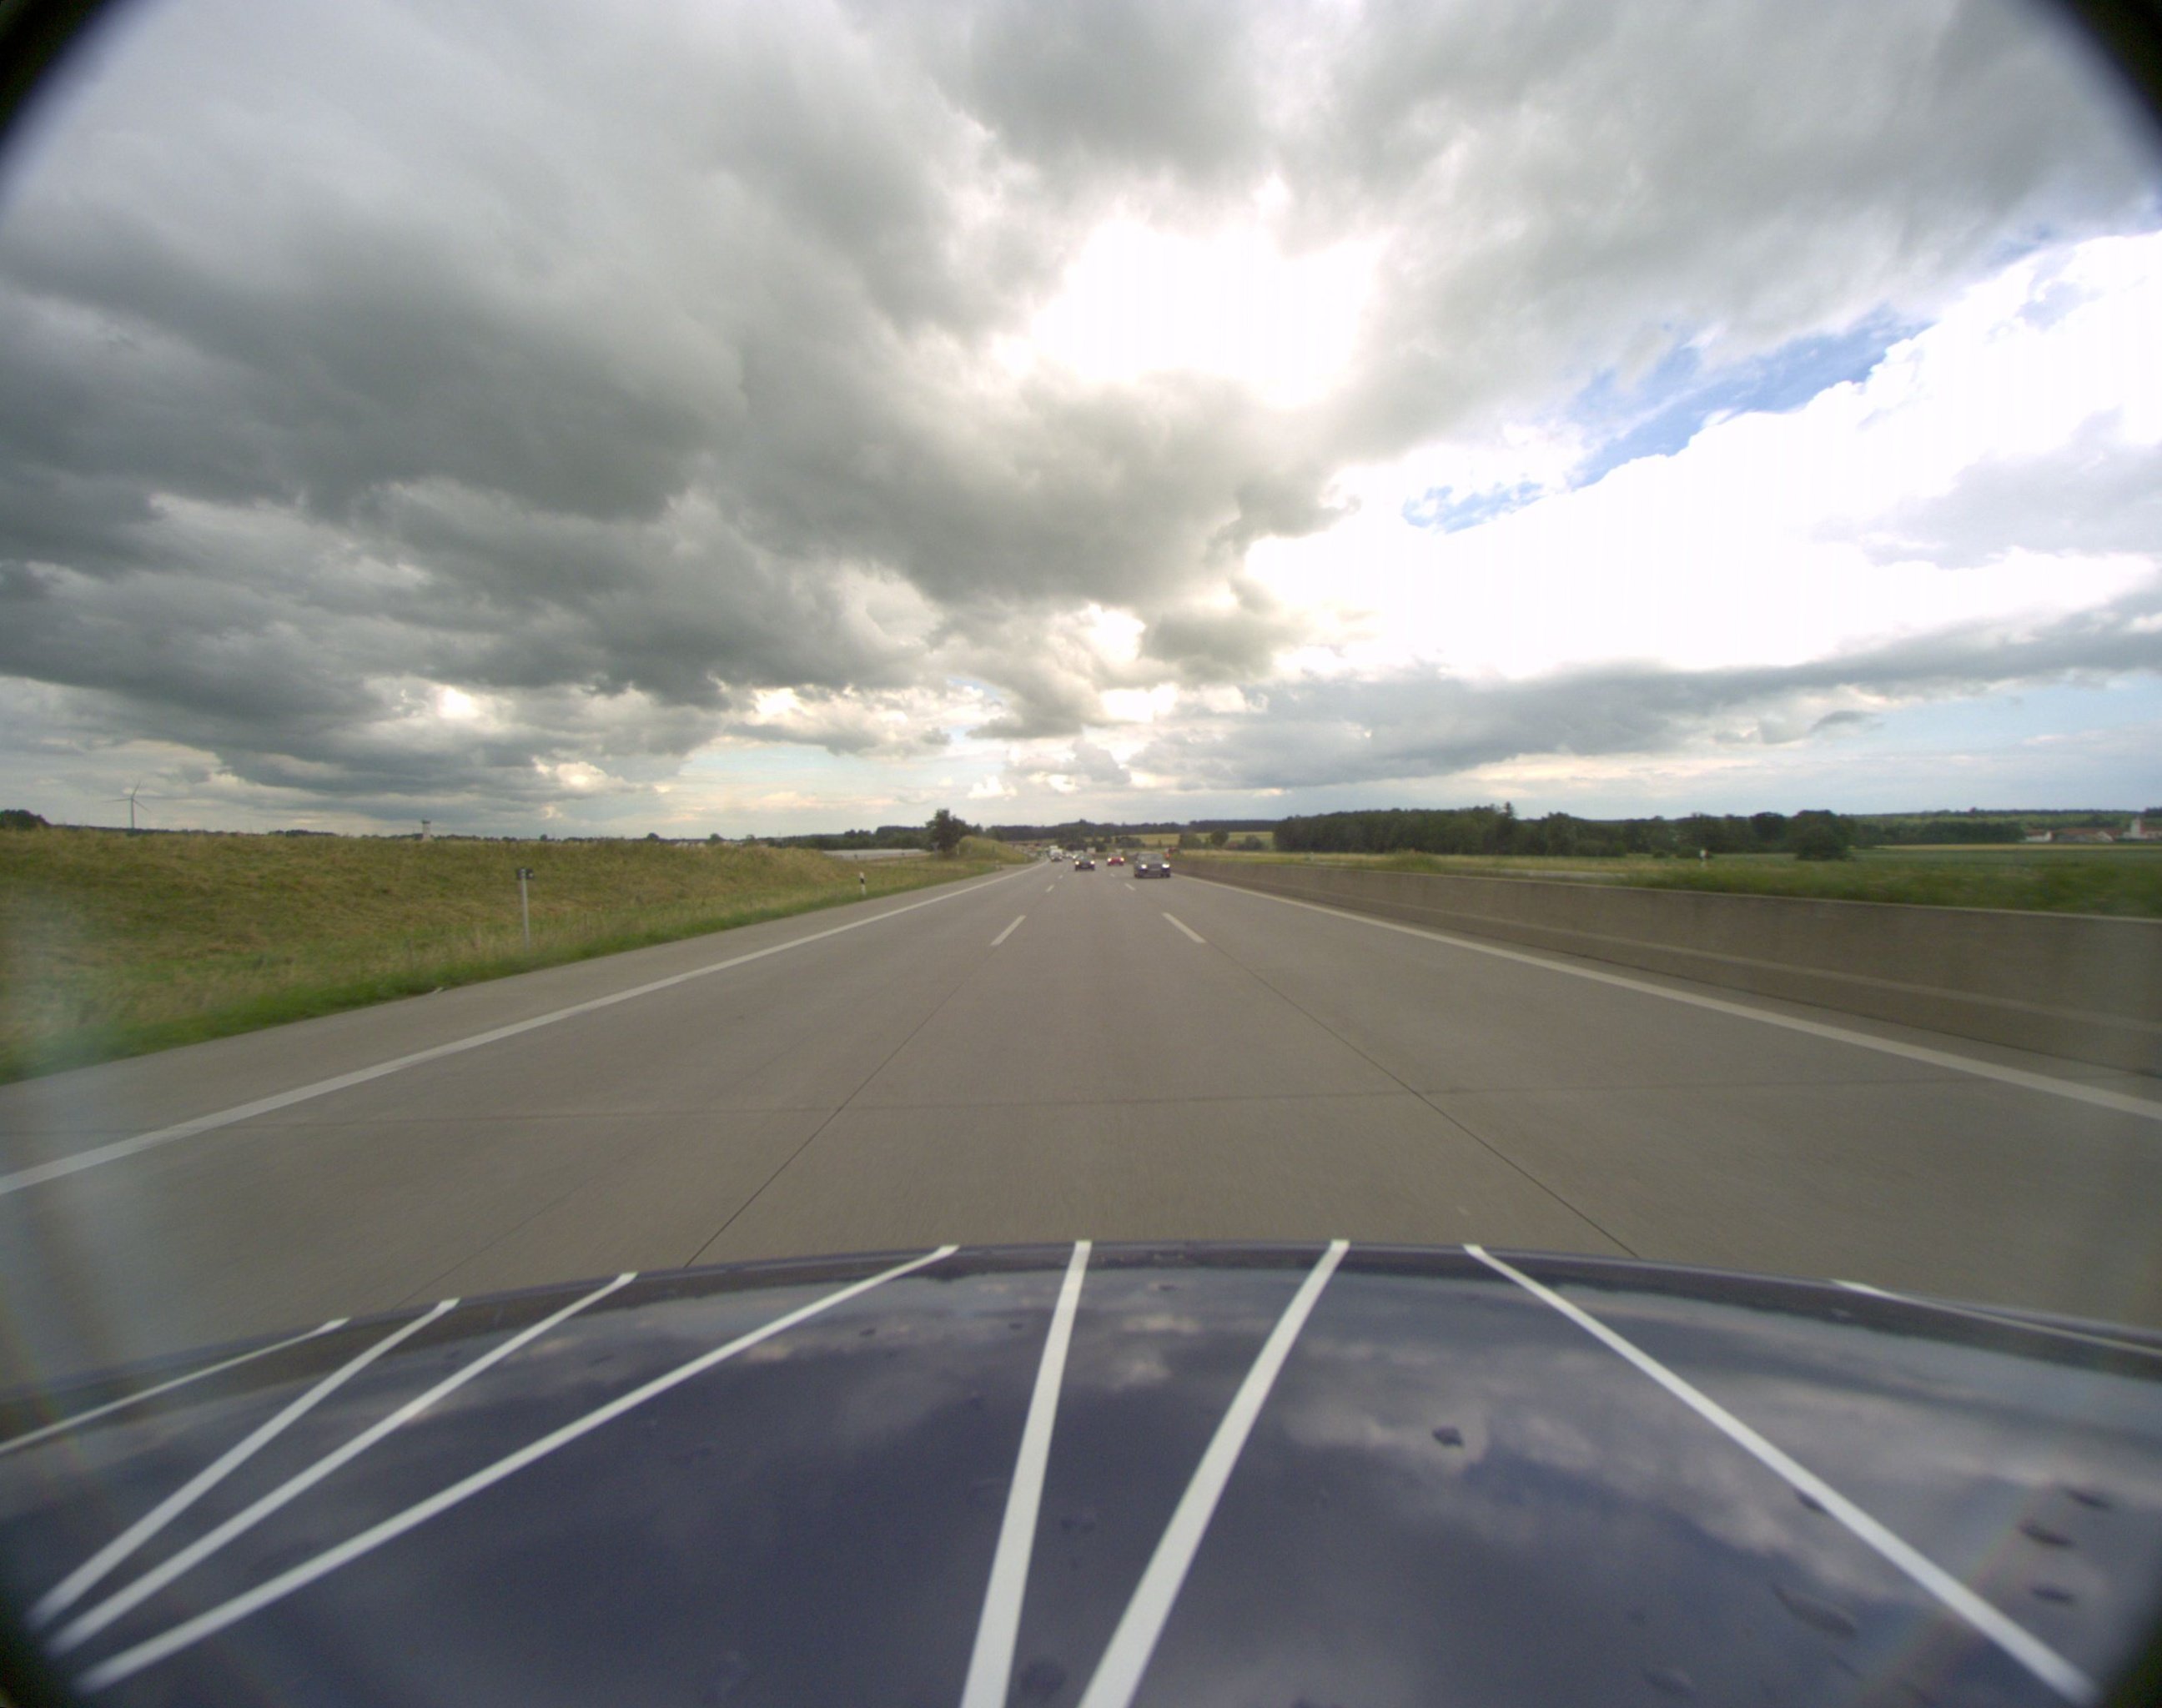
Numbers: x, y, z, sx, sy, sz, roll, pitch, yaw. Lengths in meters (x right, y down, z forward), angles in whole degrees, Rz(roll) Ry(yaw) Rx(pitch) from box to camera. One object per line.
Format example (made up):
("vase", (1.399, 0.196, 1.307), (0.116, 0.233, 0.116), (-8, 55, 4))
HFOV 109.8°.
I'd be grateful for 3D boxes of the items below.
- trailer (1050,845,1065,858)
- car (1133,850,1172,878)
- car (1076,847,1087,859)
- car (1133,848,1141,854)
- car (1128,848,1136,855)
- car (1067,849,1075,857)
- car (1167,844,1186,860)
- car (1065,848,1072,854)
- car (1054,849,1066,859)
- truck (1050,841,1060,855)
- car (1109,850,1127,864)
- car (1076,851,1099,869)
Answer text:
("trailer", (-4.690, -0.513, 152.723), (2.616, 2.520, 6.717), (-2, 1, -4))
("car", (4.096, 0.550, 44.032), (1.939, 1.464, 4.000), (-2, 0, 1))
("car", (0.130, -0.179, 139.794), (1.999, 2.002, 3.999), (-2, 0, 0))
("car", (16.116, -0.985, 218.499), (1.753, 1.631, 4.943), (-2, 0, -1))
("car", (13.574, -0.647, 200.965), (1.783, 1.498, 4.515), (-2, 1, 0))
("car", (-2.695, -0.310, 209.805), (1.810, 2.002, 3.840), (-3, 1, -4))
("car", (13.026, -0.272, 103.534), (1.998, 2.002, 4.630), (-2, 0, 0))
("car", (-3.890, -0.926, 240.513), (1.999, 2.002, 3.998), (-2, 1, -4))
("car", (-4.135, -0.094, 146.894), (1.944, 1.799, 5.029), (-2, 1, -4))
("truck", (-8.160, -1.705, 235.963), (2.855, 4.176, 10.706), (-2, 0, -3))
("car", (4.134, 0.318, 85.718), (1.822, 1.364, 3.782), (-3, 1, 0))
("car", (0.573, 0.501, 67.140), (1.691, 1.405, 3.998), (-2, 1, -4))
